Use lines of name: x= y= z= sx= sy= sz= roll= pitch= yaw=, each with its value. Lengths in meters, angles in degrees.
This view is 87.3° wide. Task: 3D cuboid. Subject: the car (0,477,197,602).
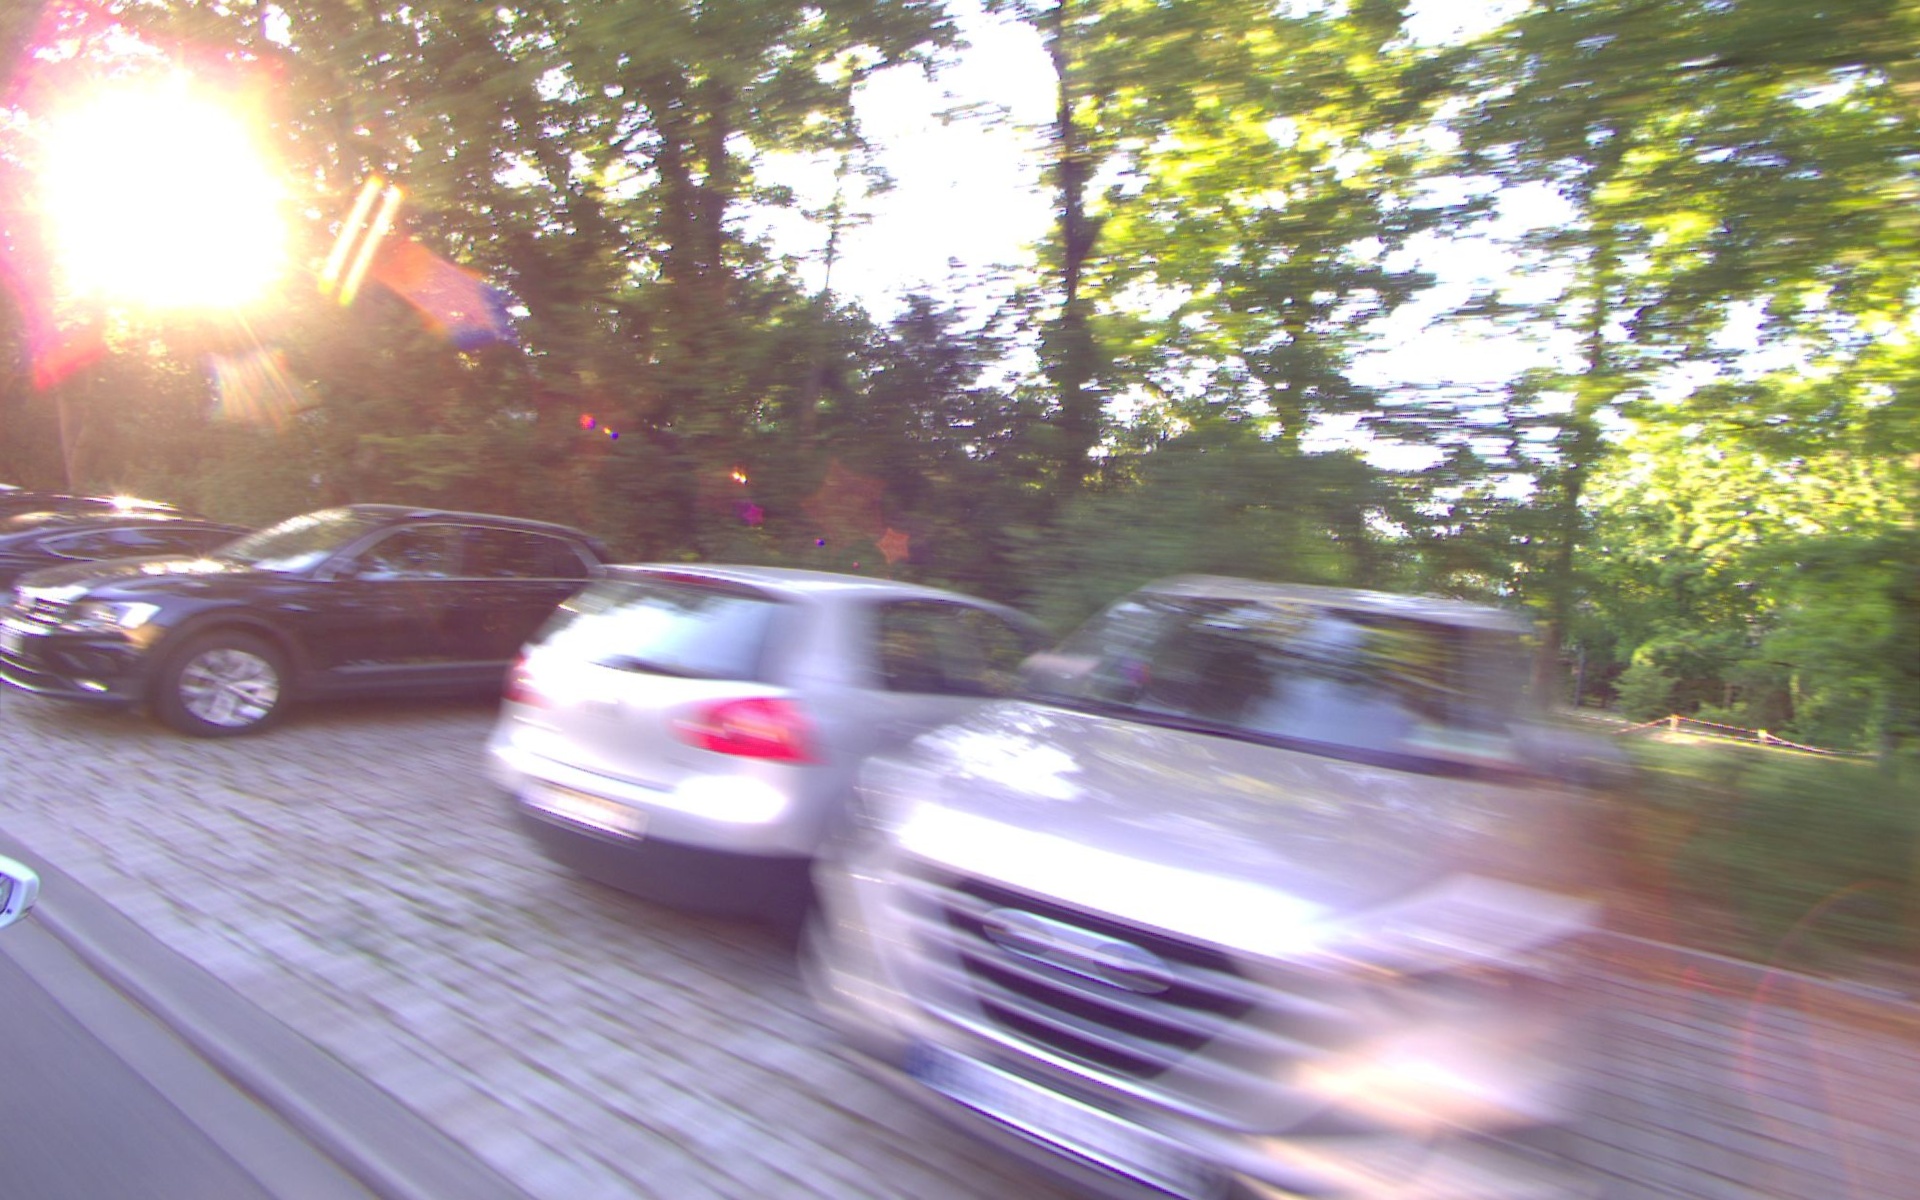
car: x=-12.866 y=-0.893 z=13.469 sx=1.797 sy=1.467 sz=3.807 roll=6 pitch=0 yaw=35

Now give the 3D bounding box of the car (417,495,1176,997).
car: x=-0.413 y=0.565 z=5.393 sx=1.697 sy=1.573 sz=3.991 roll=6 pitch=-1 yaw=32

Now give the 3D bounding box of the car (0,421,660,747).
car: x=-4.705 y=-0.068 z=7.886 sx=1.853 sy=1.812 sz=4.247 roll=6 pitch=1 yaw=32

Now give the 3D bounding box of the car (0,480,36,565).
car: x=-19.321 y=-1.609 z=17.904 sx=1.794 sy=1.529 sz=3.814 roll=6 pitch=0 yaw=28

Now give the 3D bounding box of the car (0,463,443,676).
car: x=-7.097 y=-0.229 z=9.043 sx=1.697 sy=1.574 sz=3.989 roll=6 pitch=1 yaw=32

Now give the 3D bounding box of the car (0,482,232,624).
car: x=-11.179 y=-0.621 z=11.582 sx=1.704 sy=1.467 sz=4.157 roll=6 pitch=0 yaw=35

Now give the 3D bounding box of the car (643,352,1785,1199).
car: x=1.268 y=0.604 z=3.742 sx=2.002 sy=1.827 sz=4.311 roll=6 pitch=0 yaw=31

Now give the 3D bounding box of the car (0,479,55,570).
car: x=-17.469 y=-1.429 z=16.225 sx=1.845 sy=1.467 sz=3.814 roll=6 pitch=0 yaw=28

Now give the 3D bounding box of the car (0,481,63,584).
car: x=-15.631 y=-1.168 z=13.995 sx=1.987 sy=1.467 sz=4.247 roll=6 pitch=0 yaw=30
